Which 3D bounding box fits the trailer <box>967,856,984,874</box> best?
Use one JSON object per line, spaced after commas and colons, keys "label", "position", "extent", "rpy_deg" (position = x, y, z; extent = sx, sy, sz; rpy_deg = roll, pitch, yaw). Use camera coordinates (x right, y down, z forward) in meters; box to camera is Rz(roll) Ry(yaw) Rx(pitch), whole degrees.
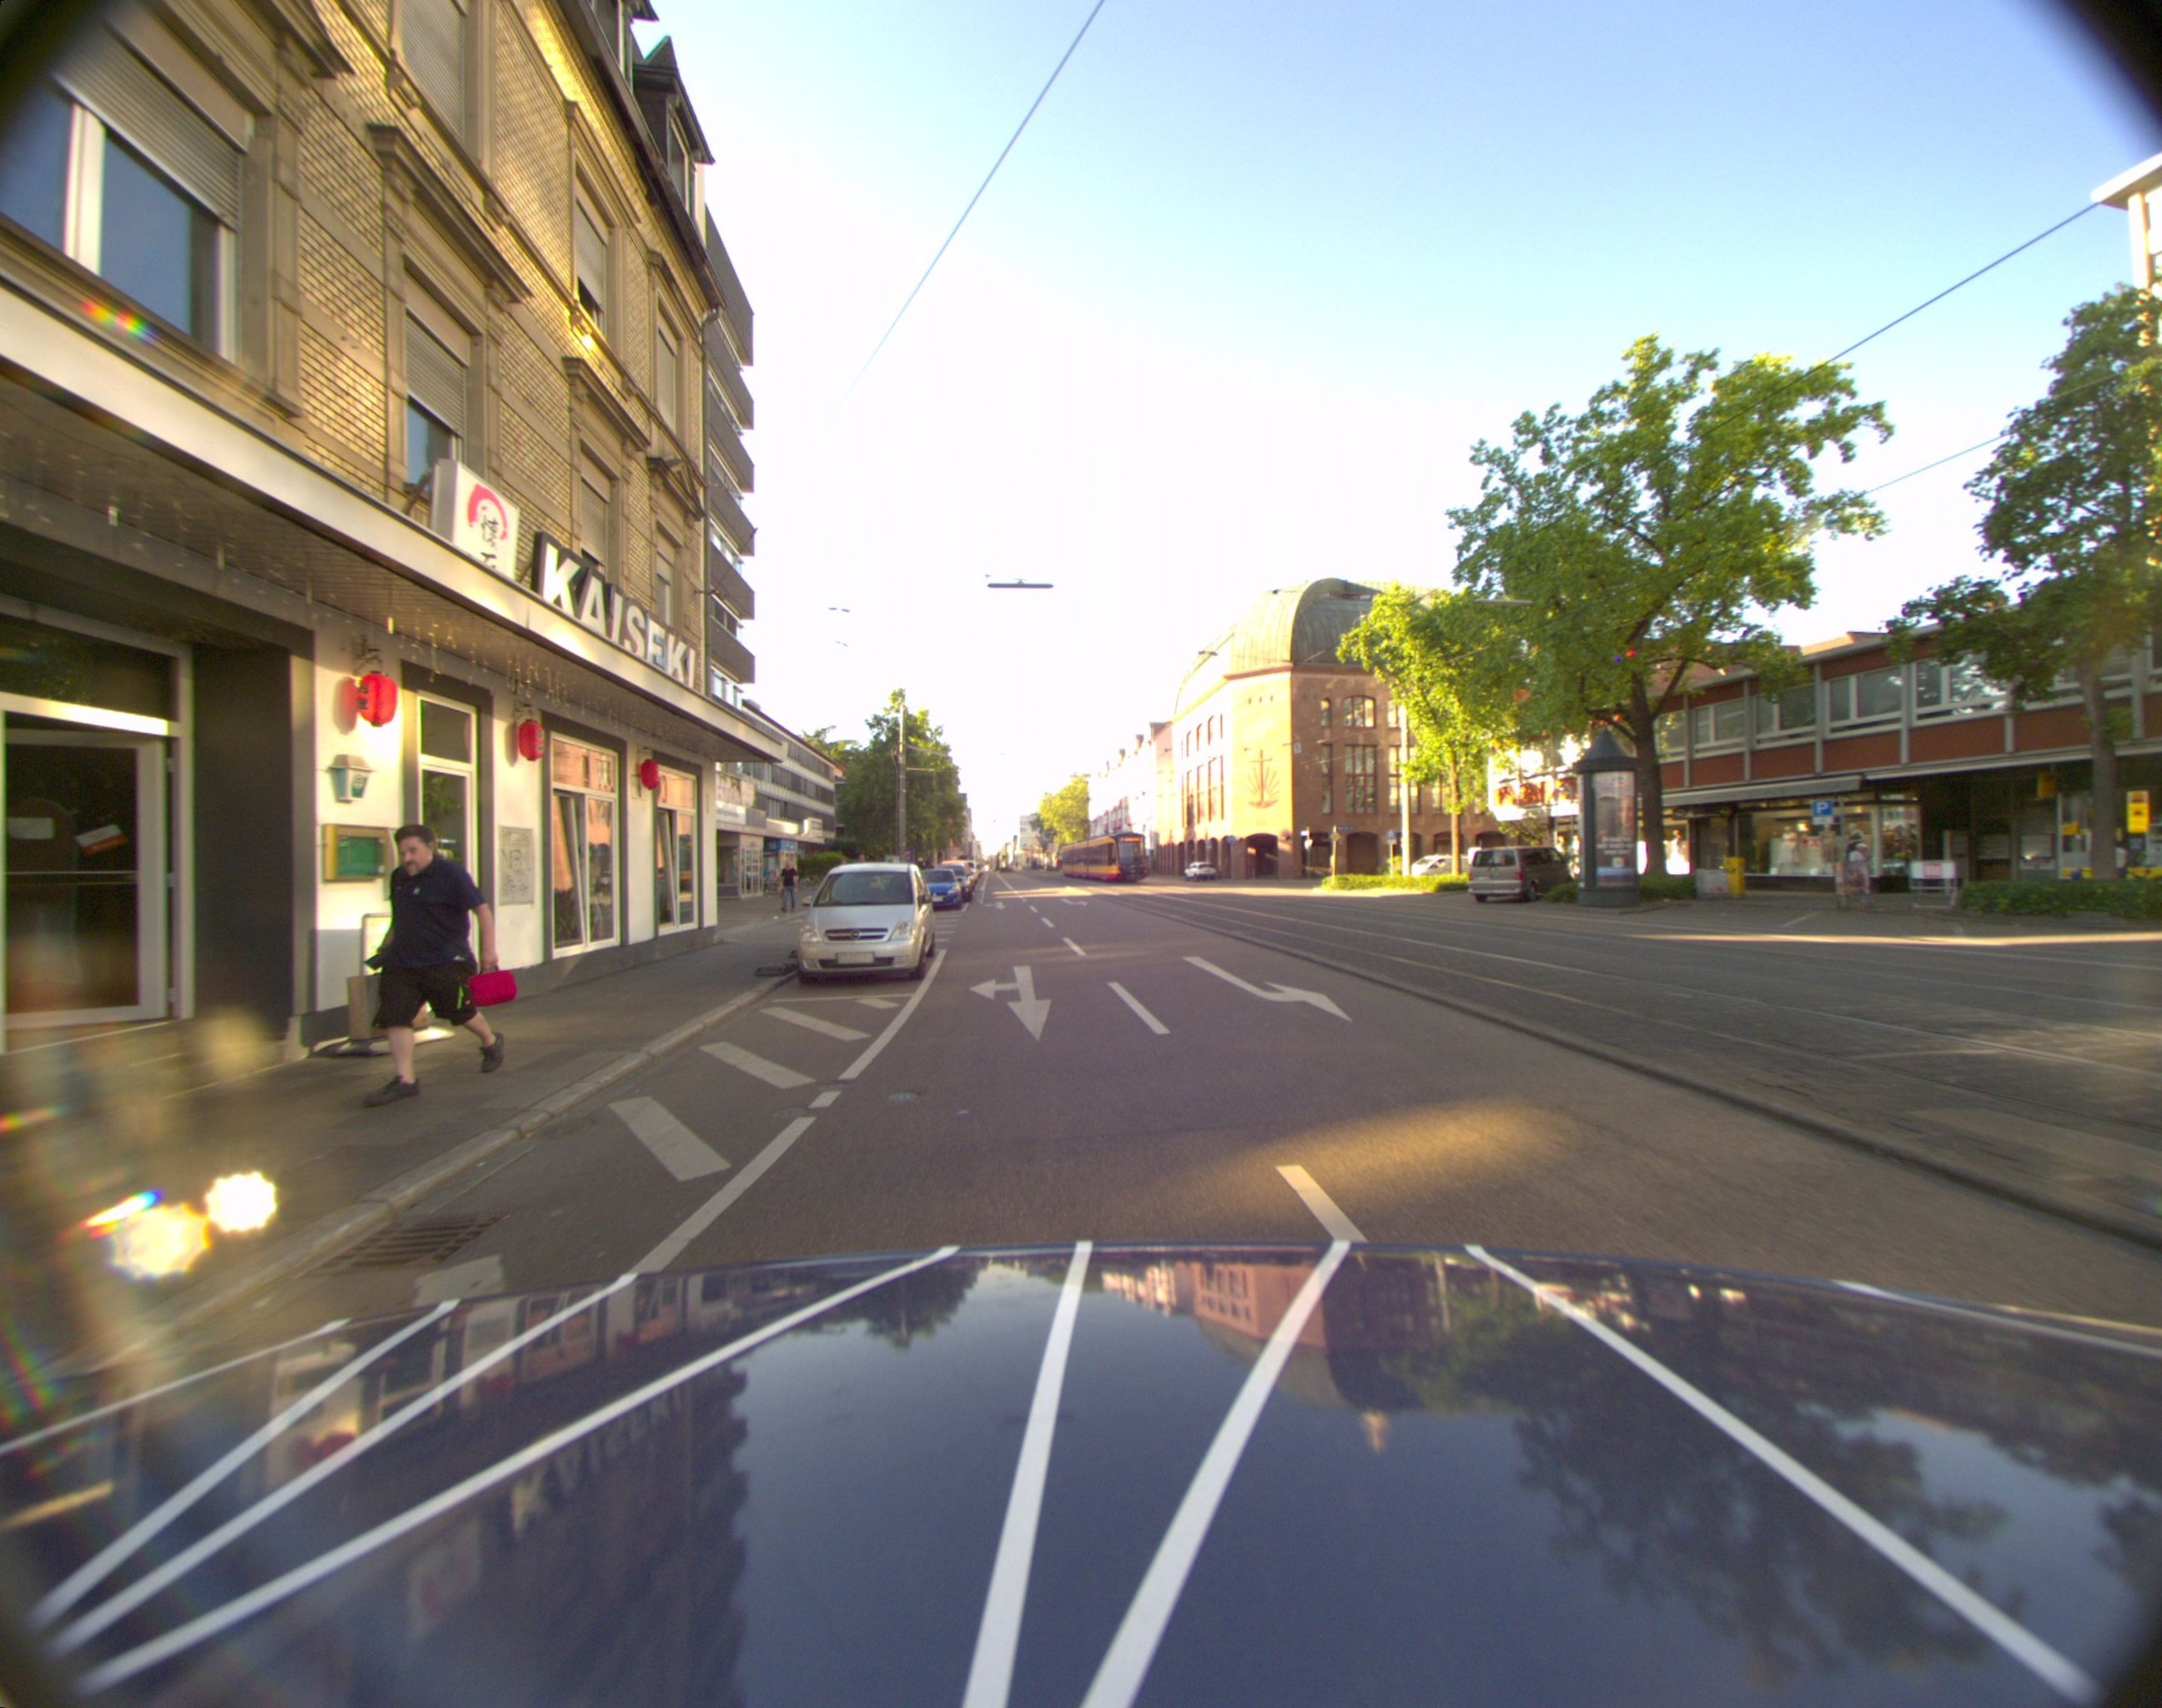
{"label": "trailer", "position": [-13.405, 1.354, 97.022], "extent": [1.784, 2.136, 5.313], "rpy_deg": [-2, 0, -5]}

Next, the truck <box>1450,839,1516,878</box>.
{"label": "truck", "position": [29.715, 0.319, 56.339], "extent": [1.857, 2.747, 4.527], "rpy_deg": [-1, 0, -11]}

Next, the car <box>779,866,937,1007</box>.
{"label": "car", "position": [-3.060, 1.017, 11.168], "extent": [1.643, 1.605, 3.942], "rpy_deg": [-1, 0, -8]}

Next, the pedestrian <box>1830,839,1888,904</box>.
{"label": "pedestrian", "position": [23.006, 0.501, 22.487], "extent": [0.920, 1.867, 0.899], "rpy_deg": [-1, 0, -20]}

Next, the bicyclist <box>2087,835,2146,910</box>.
{"label": "bicyclist", "position": [25.638, 0.447, 18.824], "extent": [0.493, 1.811, 0.826], "rpy_deg": [-1, 0, -33]}

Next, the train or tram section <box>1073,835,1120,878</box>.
{"label": "train or tram section", "position": [1.271, 0.204, 68.313], "extent": [2.684, 3.530, 11.119], "rpy_deg": [0, 0, -7]}

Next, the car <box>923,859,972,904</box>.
{"label": "car", "position": [-5.797, 1.137, 33.455], "extent": [1.826, 1.747, 4.472], "rpy_deg": [-2, 1, -7]}

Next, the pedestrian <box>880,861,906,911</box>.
{"label": "pedestrian", "position": [-6.699, 1.133, 27.107], "extent": [0.790, 1.727, 0.945], "rpy_deg": [-1, 0, -7]}

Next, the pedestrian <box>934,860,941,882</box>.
{"label": "pedestrian", "position": [-11.277, 1.317, 59.615], "extent": [0.494, 1.703, 0.437], "rpy_deg": [2, 0, -7]}

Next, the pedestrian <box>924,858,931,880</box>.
{"label": "pedestrian", "position": [-12.043, 1.210, 59.661], "extent": [0.494, 1.703, 0.437], "rpy_deg": [2, 0, -7]}

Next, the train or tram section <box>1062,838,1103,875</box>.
{"label": "train or tram section", "position": [-0.033, 0.248, 78.898], "extent": [2.767, 3.530, 12.459], "rpy_deg": [0, 0, -7]}

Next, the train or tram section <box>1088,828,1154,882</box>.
{"label": "train or tram section", "position": [2.705, 0.073, 56.397], "extent": [2.684, 3.530, 12.833], "rpy_deg": [0, 0, -7]}

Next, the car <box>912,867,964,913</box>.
{"label": "car", "position": [-5.226, 1.271, 28.067], "extent": [1.643, 1.484, 3.792], "rpy_deg": [-3, 0, -8]}

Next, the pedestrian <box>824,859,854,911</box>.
{"label": "pedestrian", "position": [-8.266, 1.041, 26.015], "extent": [0.813, 1.746, 1.032], "rpy_deg": [0, 0, -7]}

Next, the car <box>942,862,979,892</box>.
{"label": "car", "position": [-6.954, 1.303, 44.175], "extent": [1.792, 1.586, 4.324], "rpy_deg": [-2, 0, -6]}

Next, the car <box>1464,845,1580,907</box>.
{"label": "car", "position": [16.010, 0.715, 27.474], "extent": [5.131, 1.918, 1.849], "rpy_deg": [-3, 1, -38]}

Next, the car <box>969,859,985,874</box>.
{"label": "car", "position": [-12.621, 1.526, 92.187], "extent": [1.785, 1.735, 4.472], "rpy_deg": [-2, 0, -8]}

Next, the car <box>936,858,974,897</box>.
{"label": "car", "position": [-6.290, 1.149, 38.199], "extent": [1.680, 1.797, 4.246], "rpy_deg": [-2, 0, -7]}

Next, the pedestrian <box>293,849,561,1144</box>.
{"label": "pedestrian", "position": [-4.349, 0.867, 5.171], "extent": [0.949, 1.782, 1.054], "rpy_deg": [0, 0, -7]}

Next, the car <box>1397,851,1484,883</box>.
{"label": "car", "position": [24.256, 0.868, 51.337], "extent": [4.995, 1.957, 2.130], "rpy_deg": [-1, 3, -9]}

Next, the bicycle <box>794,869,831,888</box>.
{"label": "bicycle", "position": [-15.862, 1.432, 44.925], "extent": [2.021, 1.089, 0.637], "rpy_deg": [1, -1, -14]}

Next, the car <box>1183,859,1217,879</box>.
{"label": "car", "position": [10.128, 1.269, 64.991], "extent": [1.600, 1.581, 4.274], "rpy_deg": [-3, 0, -9]}

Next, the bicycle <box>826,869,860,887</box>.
{"label": "bicycle", "position": [-14.394, 1.443, 45.948], "extent": [1.887, 1.089, 0.469], "rpy_deg": [0, 1, -9]}

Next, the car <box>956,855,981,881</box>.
{"label": "car", "position": [-9.245, 1.161, 62.700], "extent": [1.883, 2.009, 4.902], "rpy_deg": [-2, 0, -7]}

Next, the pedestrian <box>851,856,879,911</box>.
{"label": "pedestrian", "position": [-7.457, 0.998, 26.243], "extent": [0.796, 1.888, 1.032], "rpy_deg": [0, 0, -7]}

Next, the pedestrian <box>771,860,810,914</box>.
{"label": "pedestrian", "position": [-9.510, 1.061, 24.900], "extent": [0.903, 1.703, 1.032], "rpy_deg": [2, 0, -7]}

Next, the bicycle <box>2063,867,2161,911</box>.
{"label": "bicycle", "position": [25.624, 0.851, 18.856], "extent": [0.493, 1.019, 1.493], "rpy_deg": [-1, 0, -33]}

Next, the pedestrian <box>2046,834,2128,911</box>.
{"label": "pedestrian", "position": [24.916, 0.447, 18.836], "extent": [0.919, 1.867, 0.899], "rpy_deg": [-1, 0, -9]}
